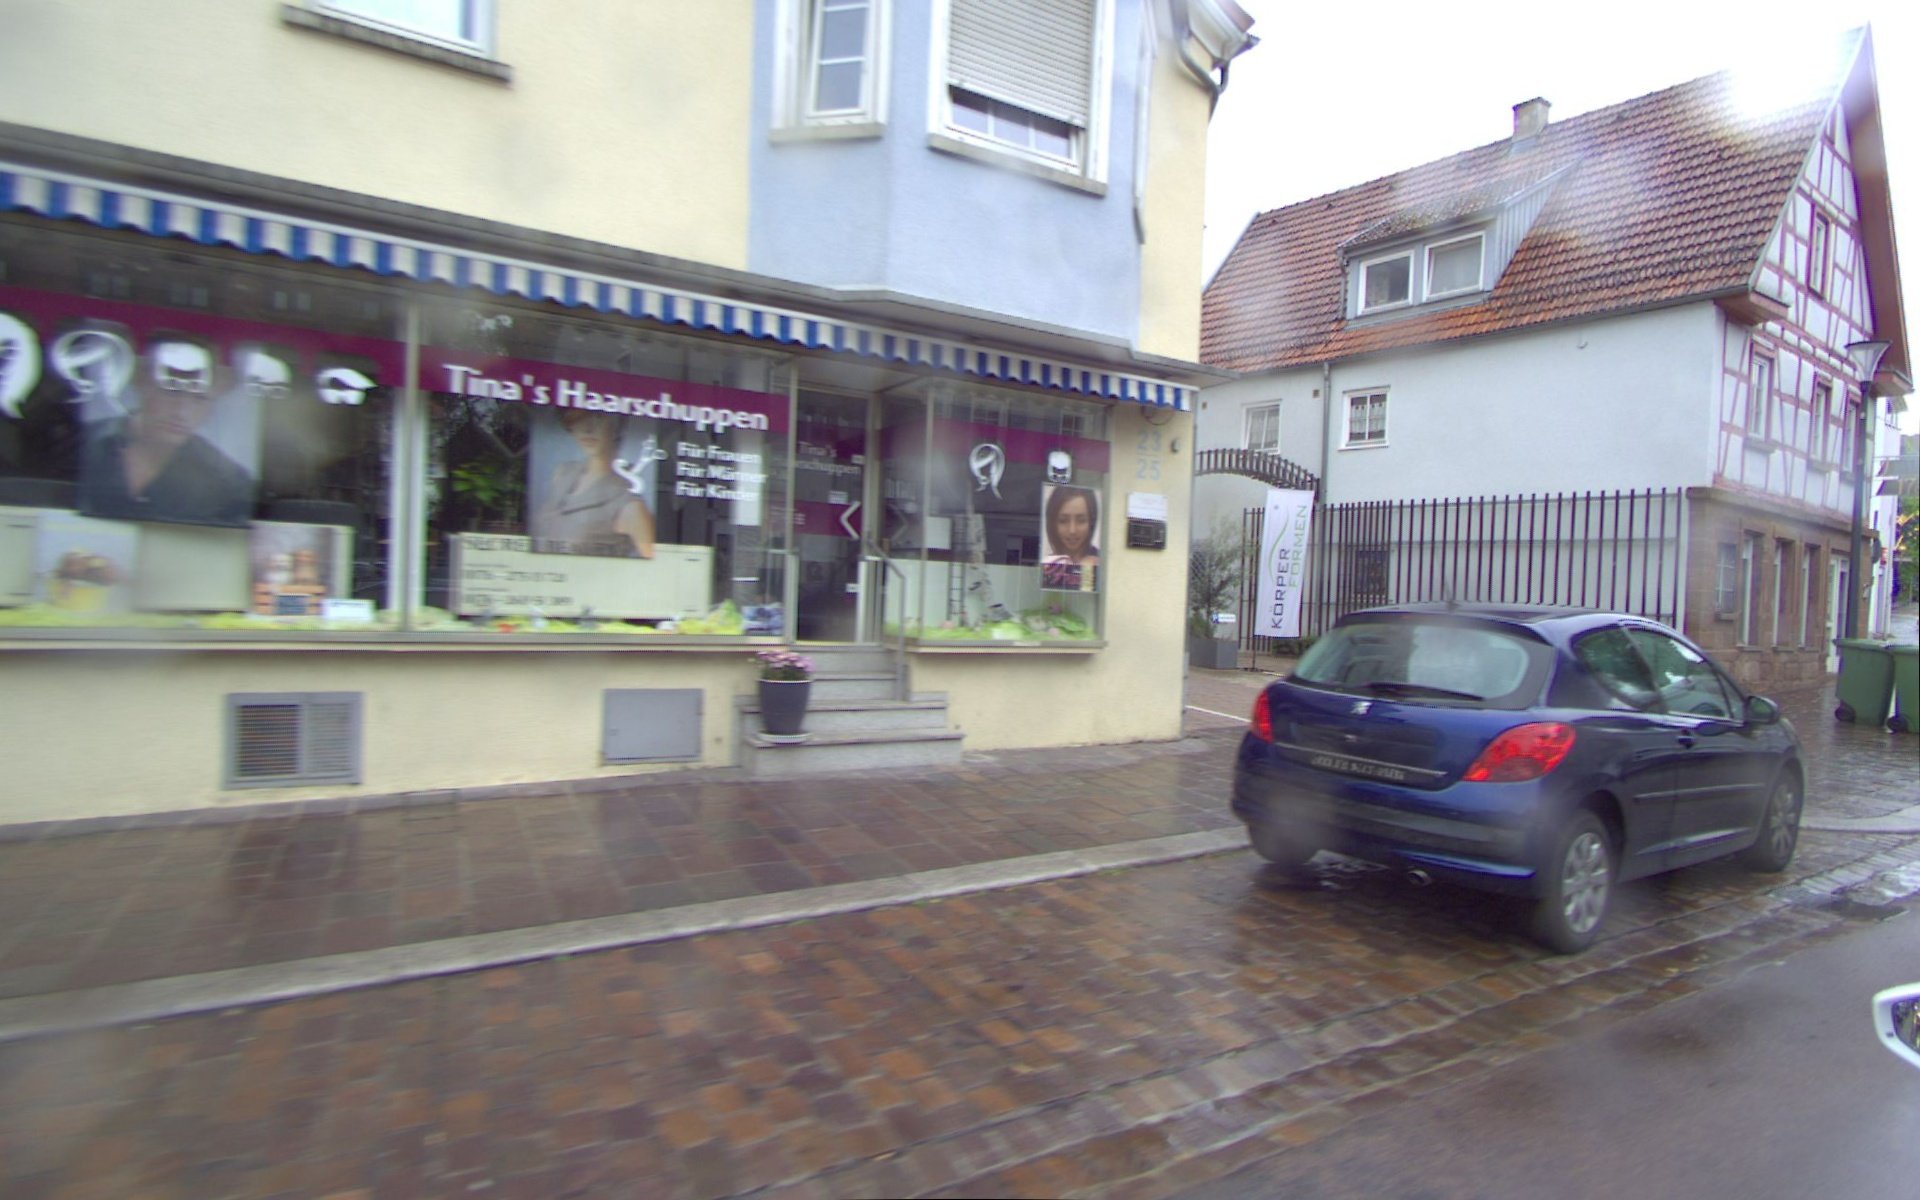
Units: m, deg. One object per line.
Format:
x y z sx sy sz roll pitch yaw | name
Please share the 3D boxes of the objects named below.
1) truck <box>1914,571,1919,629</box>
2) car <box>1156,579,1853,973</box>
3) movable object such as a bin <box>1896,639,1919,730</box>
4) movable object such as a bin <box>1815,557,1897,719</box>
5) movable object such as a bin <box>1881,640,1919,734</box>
48.605 0.020 49.309 2.254 2.794 5.540 2 0 41 | truck
3.274 0.702 5.838 3.960 1.491 1.980 1 1 -35 | car
12.413 1.083 12.766 0.727 1.137 0.625 2 0 -38 | movable object such as a bin
11.671 0.483 13.083 0.740 2.040 0.625 2 0 -38 | movable object such as a bin
11.777 1.060 12.292 0.727 1.066 0.625 -2 3 -38 | movable object such as a bin
